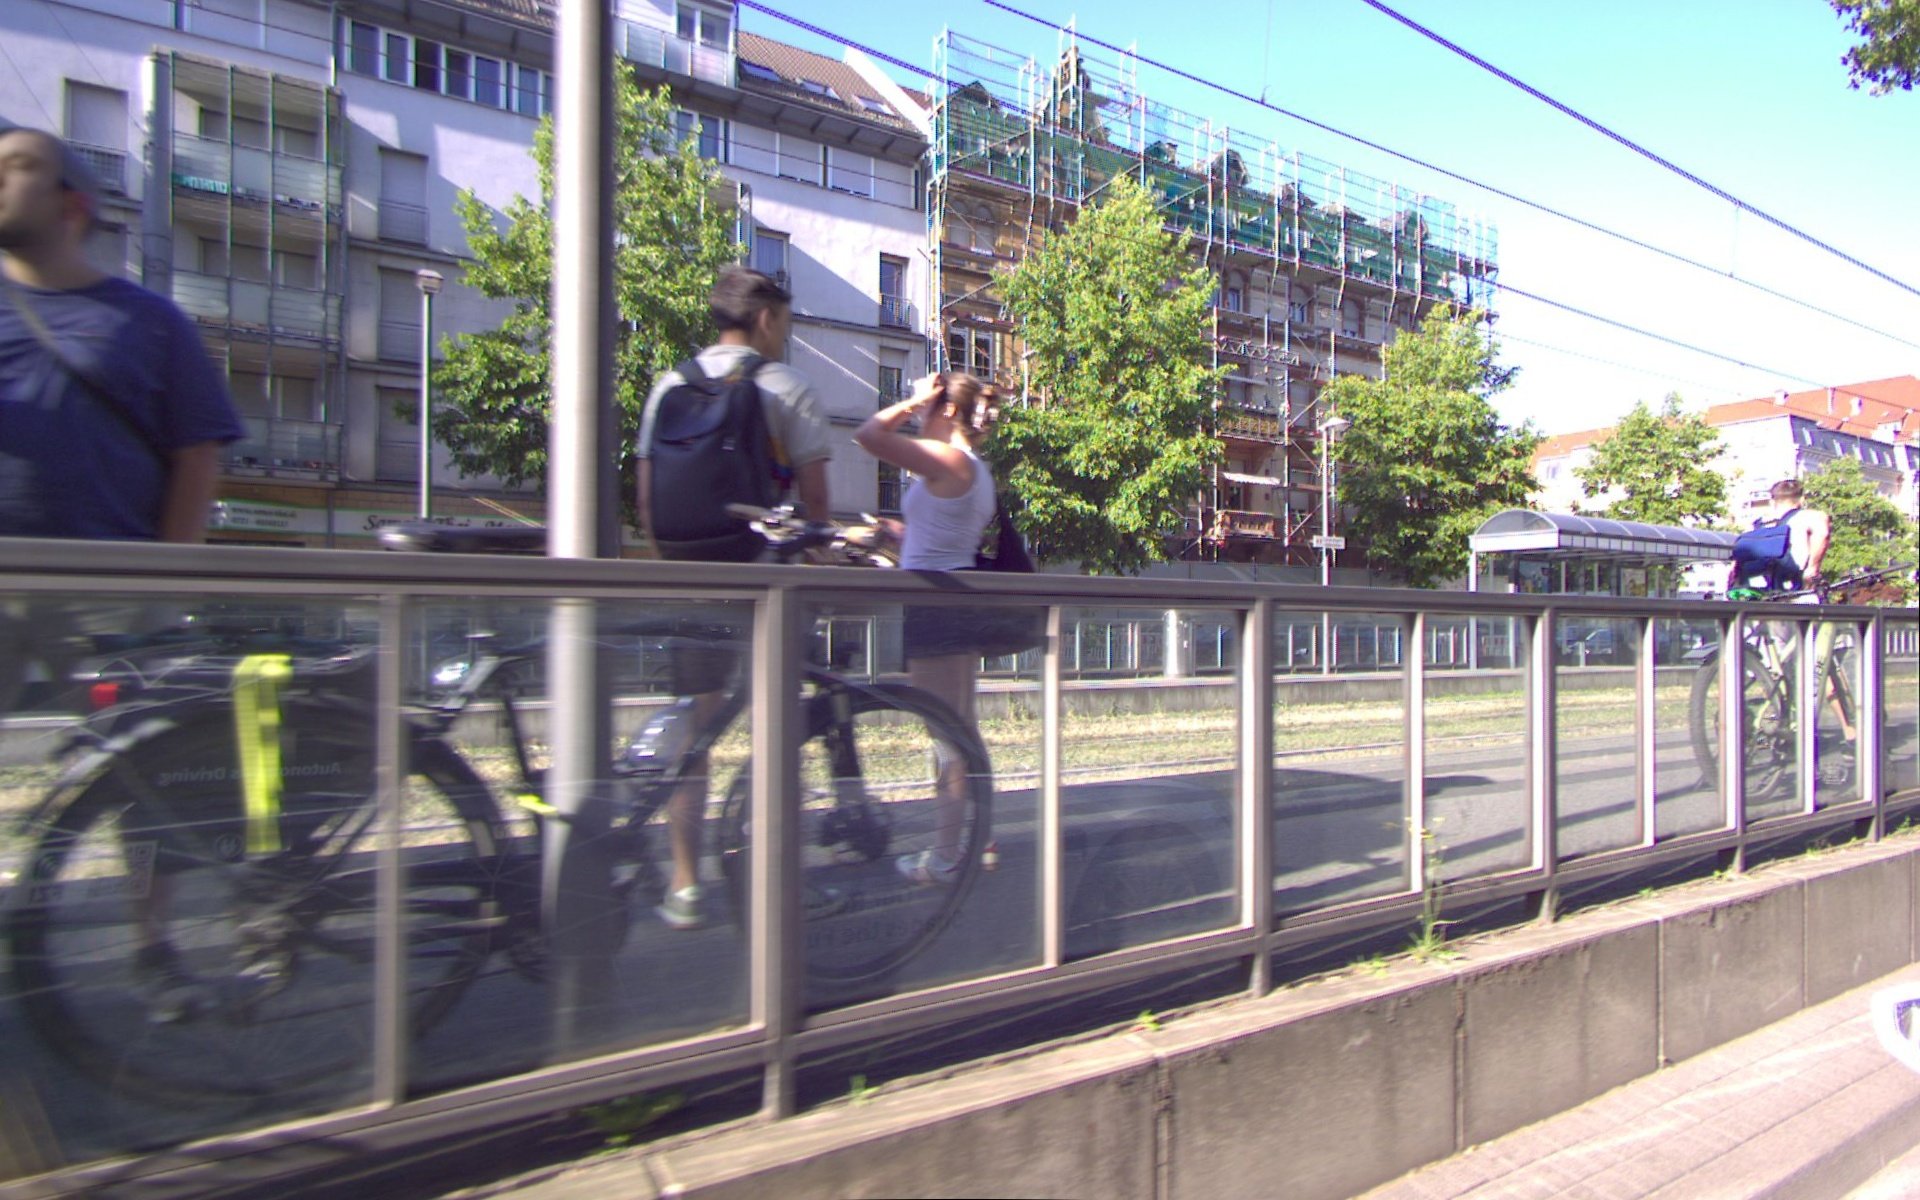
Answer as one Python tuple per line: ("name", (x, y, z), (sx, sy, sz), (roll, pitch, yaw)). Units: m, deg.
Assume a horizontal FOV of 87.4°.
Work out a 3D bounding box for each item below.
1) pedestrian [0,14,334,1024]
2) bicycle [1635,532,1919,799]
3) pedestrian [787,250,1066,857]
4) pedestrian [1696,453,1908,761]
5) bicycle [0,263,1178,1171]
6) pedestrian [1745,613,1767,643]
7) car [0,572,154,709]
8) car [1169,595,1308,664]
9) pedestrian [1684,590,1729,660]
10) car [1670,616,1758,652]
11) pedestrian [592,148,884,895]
("pedestrian", (-1.841, -0.143, 2.095), (0.813, 1.824, 0.597), (1, 1, -25))
("bicycle", (4.392, 0.292, 5.148), (2.007, 1.148, 0.733), (1, 1, -31))
("pedestrian", (-0.113, -0.128, 3.275), (0.722, 1.731, 0.503), (1, 1, -33))
("pedestrian", (5.331, 0.041, 6.381), (0.764, 1.794, 0.781), (1, 1, -30))
("bicycle", (-0.542, 0.162, 1.960), (2.079, 1.148, 0.510), (1, 1, -31))
("pedestrian", (44.509, 1.587, 56.167), (0.805, 1.669, 0.719), (1, -2, -36))
("car", (-16.121, 0.633, 16.883), (3.741, 2.195, 1.931), (1, 1, -31))
("car", (8.832, 0.918, 31.844), (3.951, 2.041, 1.985), (1, 1, -29))
("pedestrian", (18.571, 0.611, 24.990), (0.647, 1.713, 0.675), (1, 1, -32))
("car", (35.751, 1.602, 47.610), (4.011, 1.607, 1.715), (1, 1, -26))
("pedestrian", (-0.613, -0.178, 2.724), (0.593, 1.731, 0.545), (1, 1, -33))
